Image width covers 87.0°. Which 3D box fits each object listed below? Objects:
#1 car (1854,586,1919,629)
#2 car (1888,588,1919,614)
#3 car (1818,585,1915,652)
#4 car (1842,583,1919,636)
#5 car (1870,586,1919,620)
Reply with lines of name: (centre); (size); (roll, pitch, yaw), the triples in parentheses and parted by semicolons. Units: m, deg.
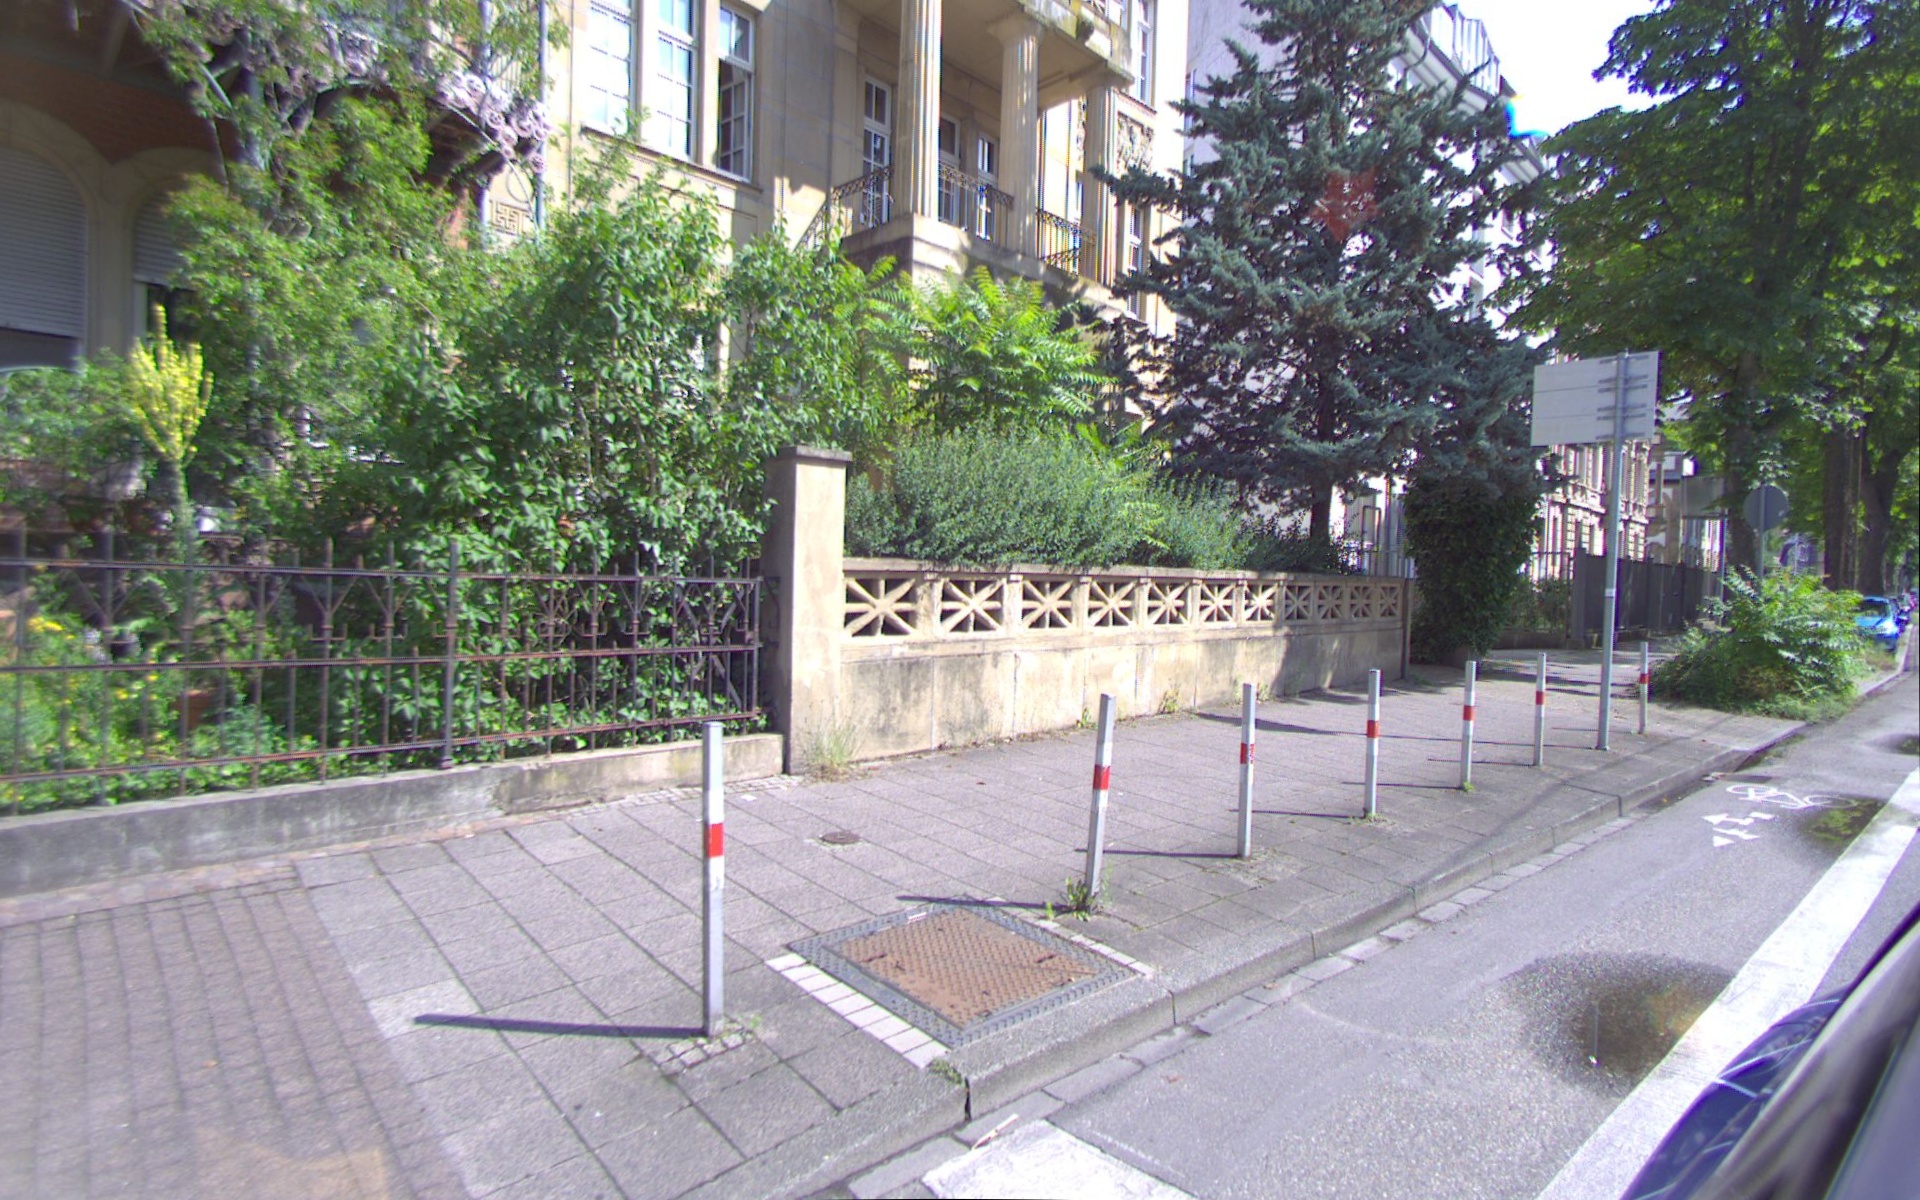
car: (35.677, 0.254, 38.861); (1.722, 1.469, 3.862); (6, 5, 45)
car: (64.191, 0.031, 68.495); (1.771, 1.591, 4.132); (6, 5, 45)
car: (23.116, 0.415, 25.763); (1.639, 1.472, 3.640); (6, 4, 44)
car: (30.148, 0.261, 33.076); (3.563, 1.526, 1.642); (0, 5, -44)
car: (48.475, 0.129, 52.385); (1.771, 1.549, 4.132); (6, 5, 45)
